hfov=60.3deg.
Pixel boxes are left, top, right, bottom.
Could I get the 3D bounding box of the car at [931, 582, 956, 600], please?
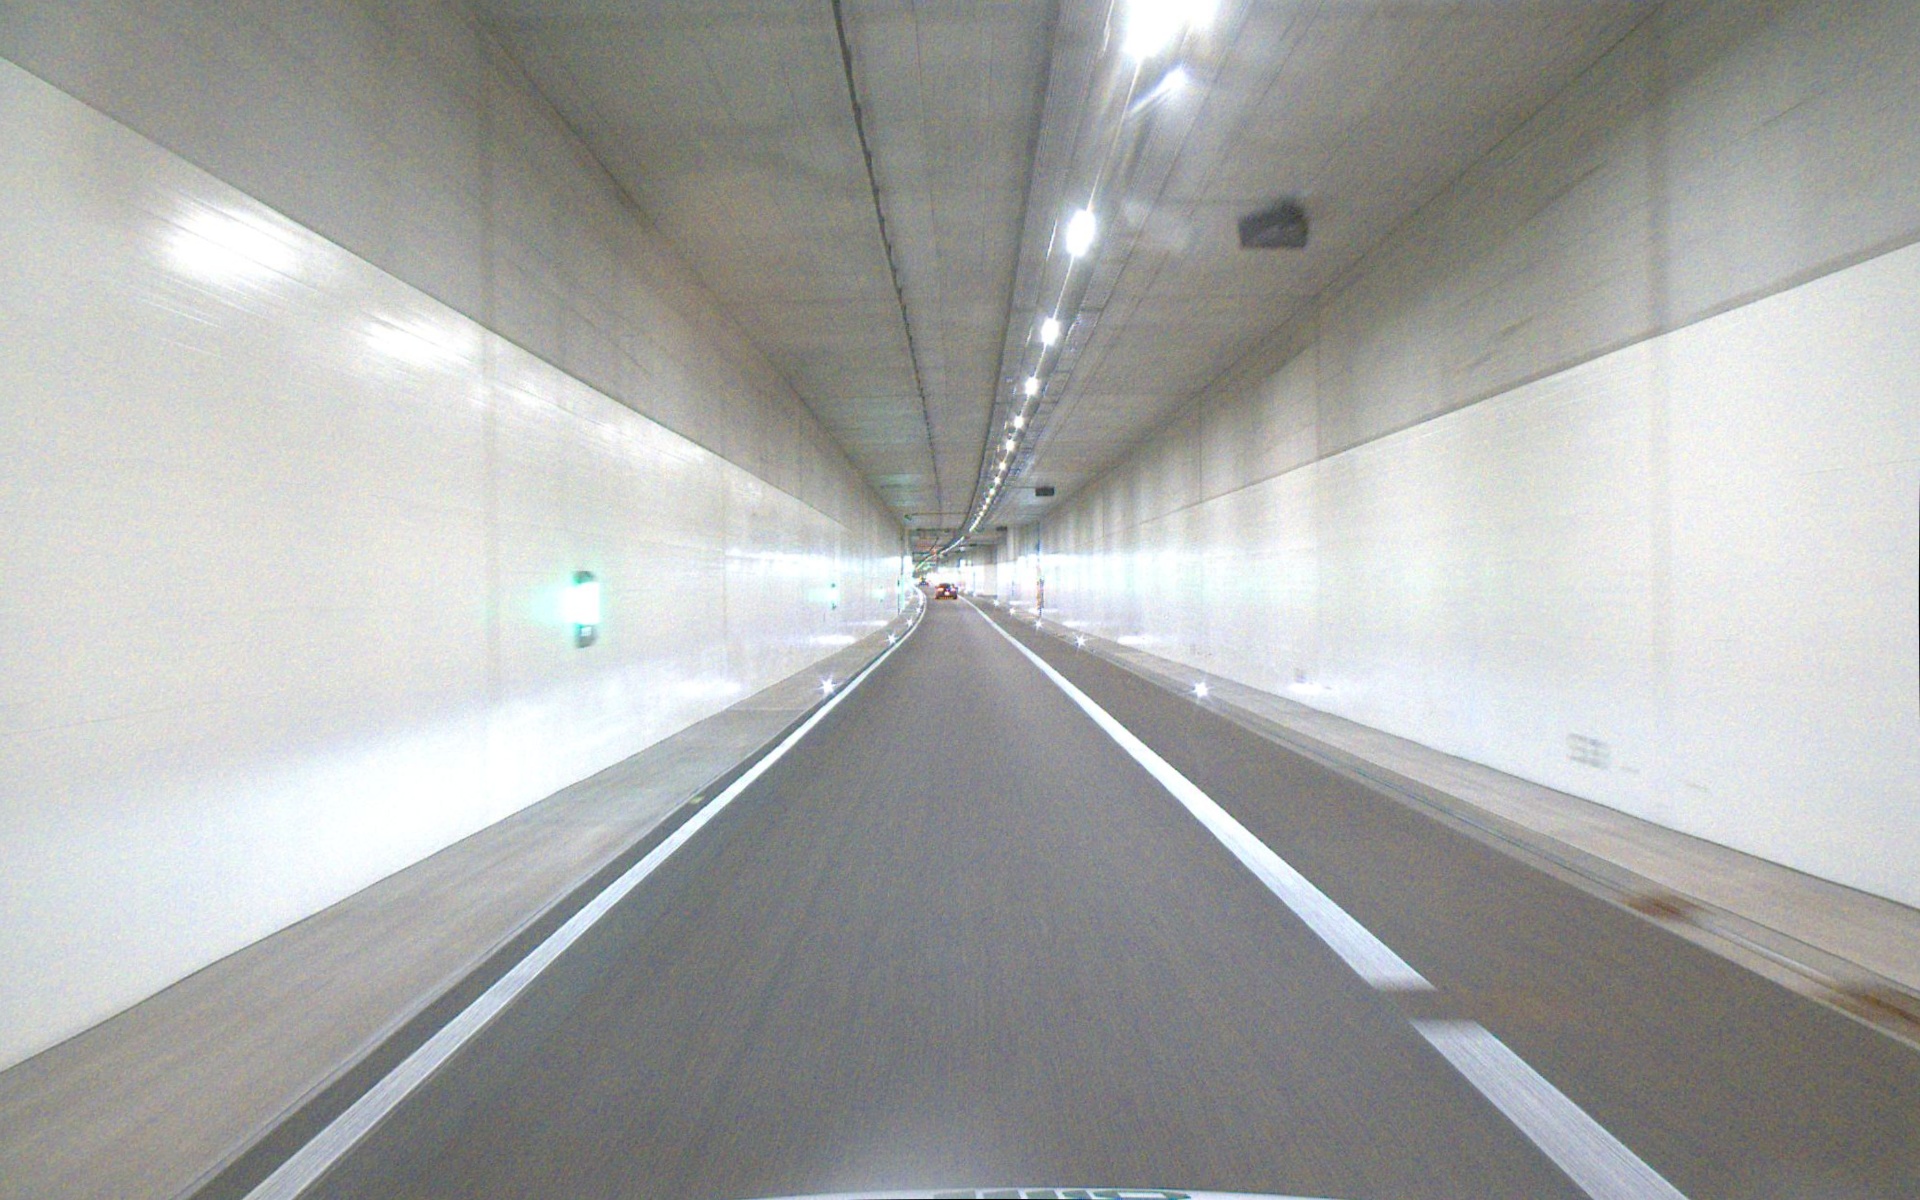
[{"bbox_3d":[-1.434,-0.787,144.975,1.954,1.444,3.998,5,0,-3],"label":"car"}]
